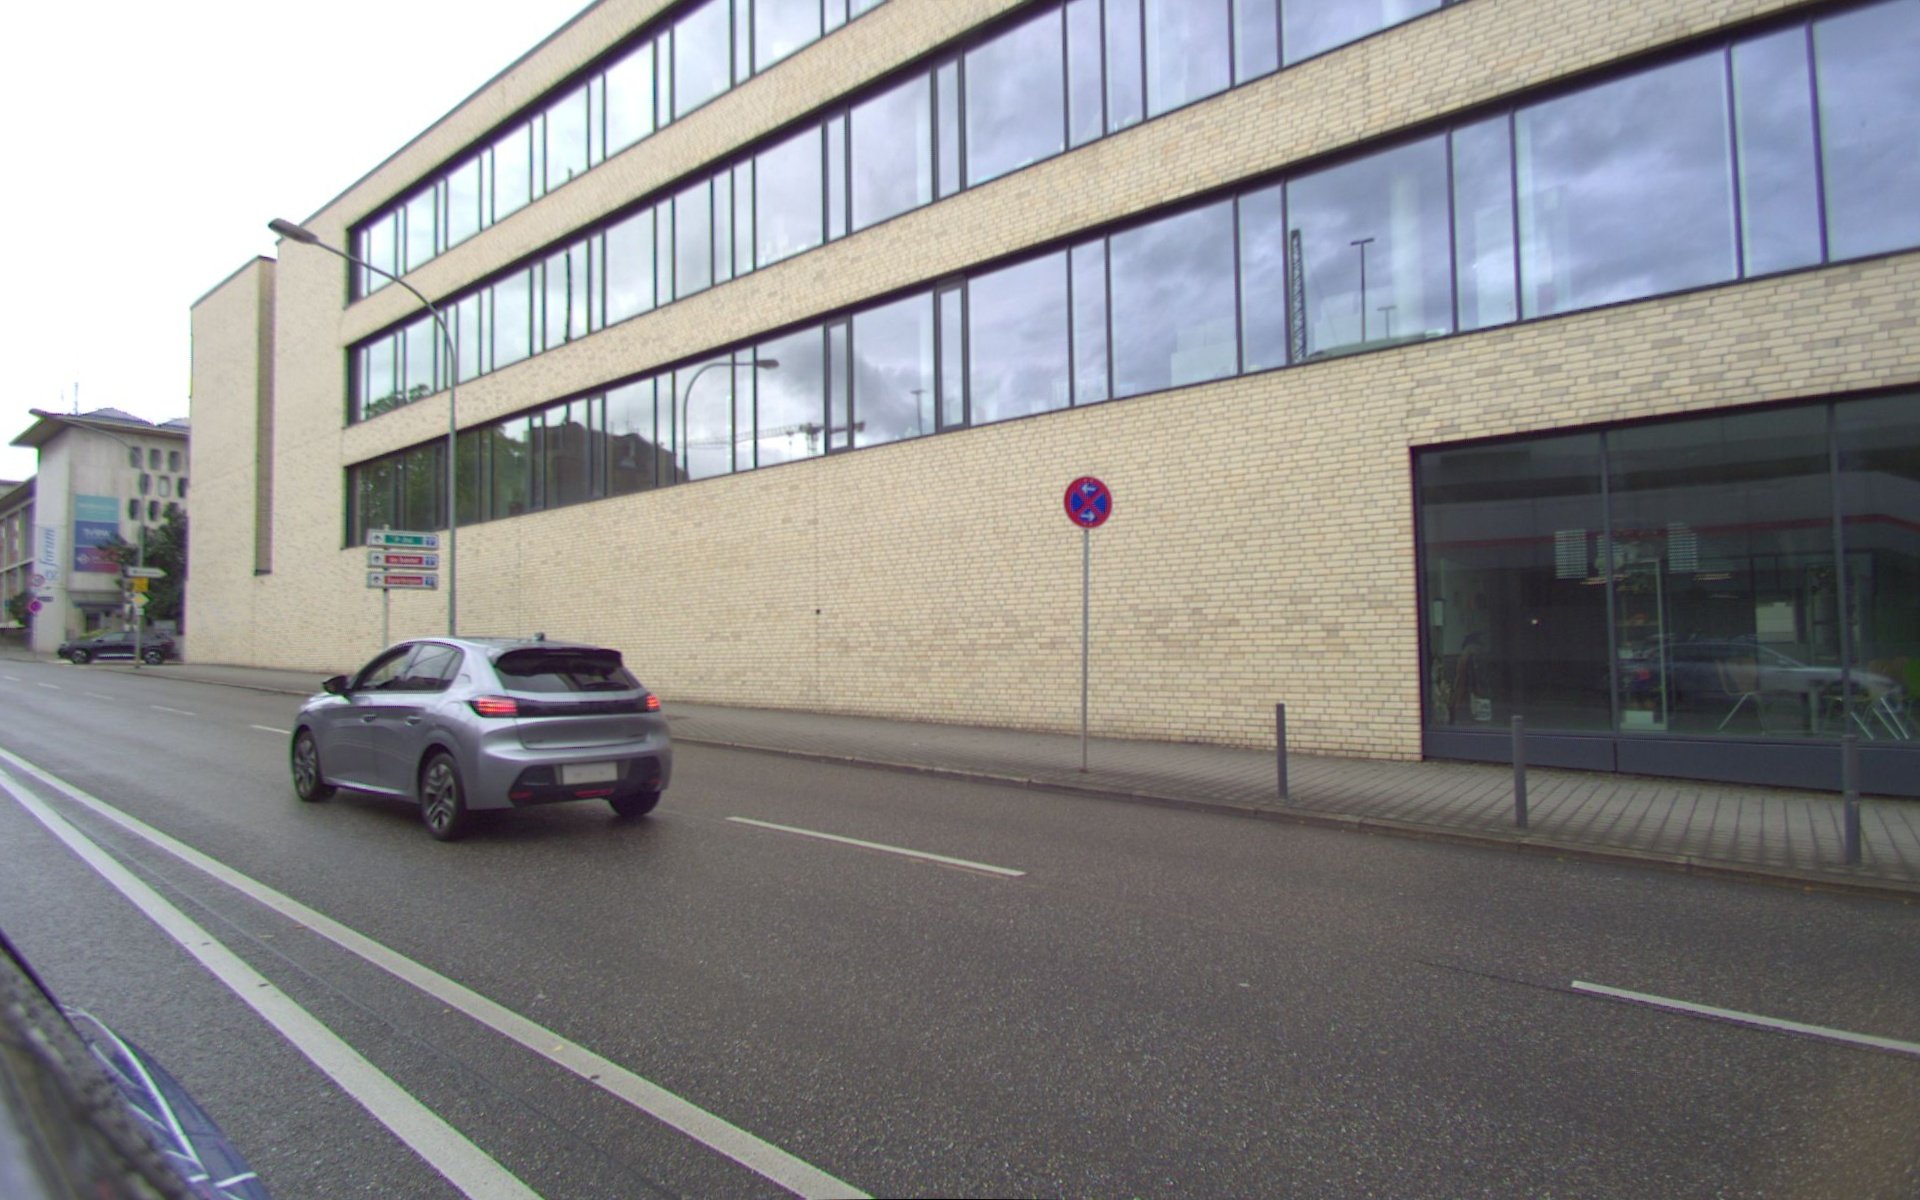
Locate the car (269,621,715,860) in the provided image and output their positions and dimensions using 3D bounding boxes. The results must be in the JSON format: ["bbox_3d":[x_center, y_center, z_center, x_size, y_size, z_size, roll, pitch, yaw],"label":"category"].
[{"bbox_3d":[-3.914,0.946,8.210,3.878,1.481,1.724,-1,-4,39],"label":"car"}]

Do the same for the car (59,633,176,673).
[{"bbox_3d":[-38.547,2.400,46.415,3.933,1.674,1.866,0,-1,-34],"label":"car"}]
